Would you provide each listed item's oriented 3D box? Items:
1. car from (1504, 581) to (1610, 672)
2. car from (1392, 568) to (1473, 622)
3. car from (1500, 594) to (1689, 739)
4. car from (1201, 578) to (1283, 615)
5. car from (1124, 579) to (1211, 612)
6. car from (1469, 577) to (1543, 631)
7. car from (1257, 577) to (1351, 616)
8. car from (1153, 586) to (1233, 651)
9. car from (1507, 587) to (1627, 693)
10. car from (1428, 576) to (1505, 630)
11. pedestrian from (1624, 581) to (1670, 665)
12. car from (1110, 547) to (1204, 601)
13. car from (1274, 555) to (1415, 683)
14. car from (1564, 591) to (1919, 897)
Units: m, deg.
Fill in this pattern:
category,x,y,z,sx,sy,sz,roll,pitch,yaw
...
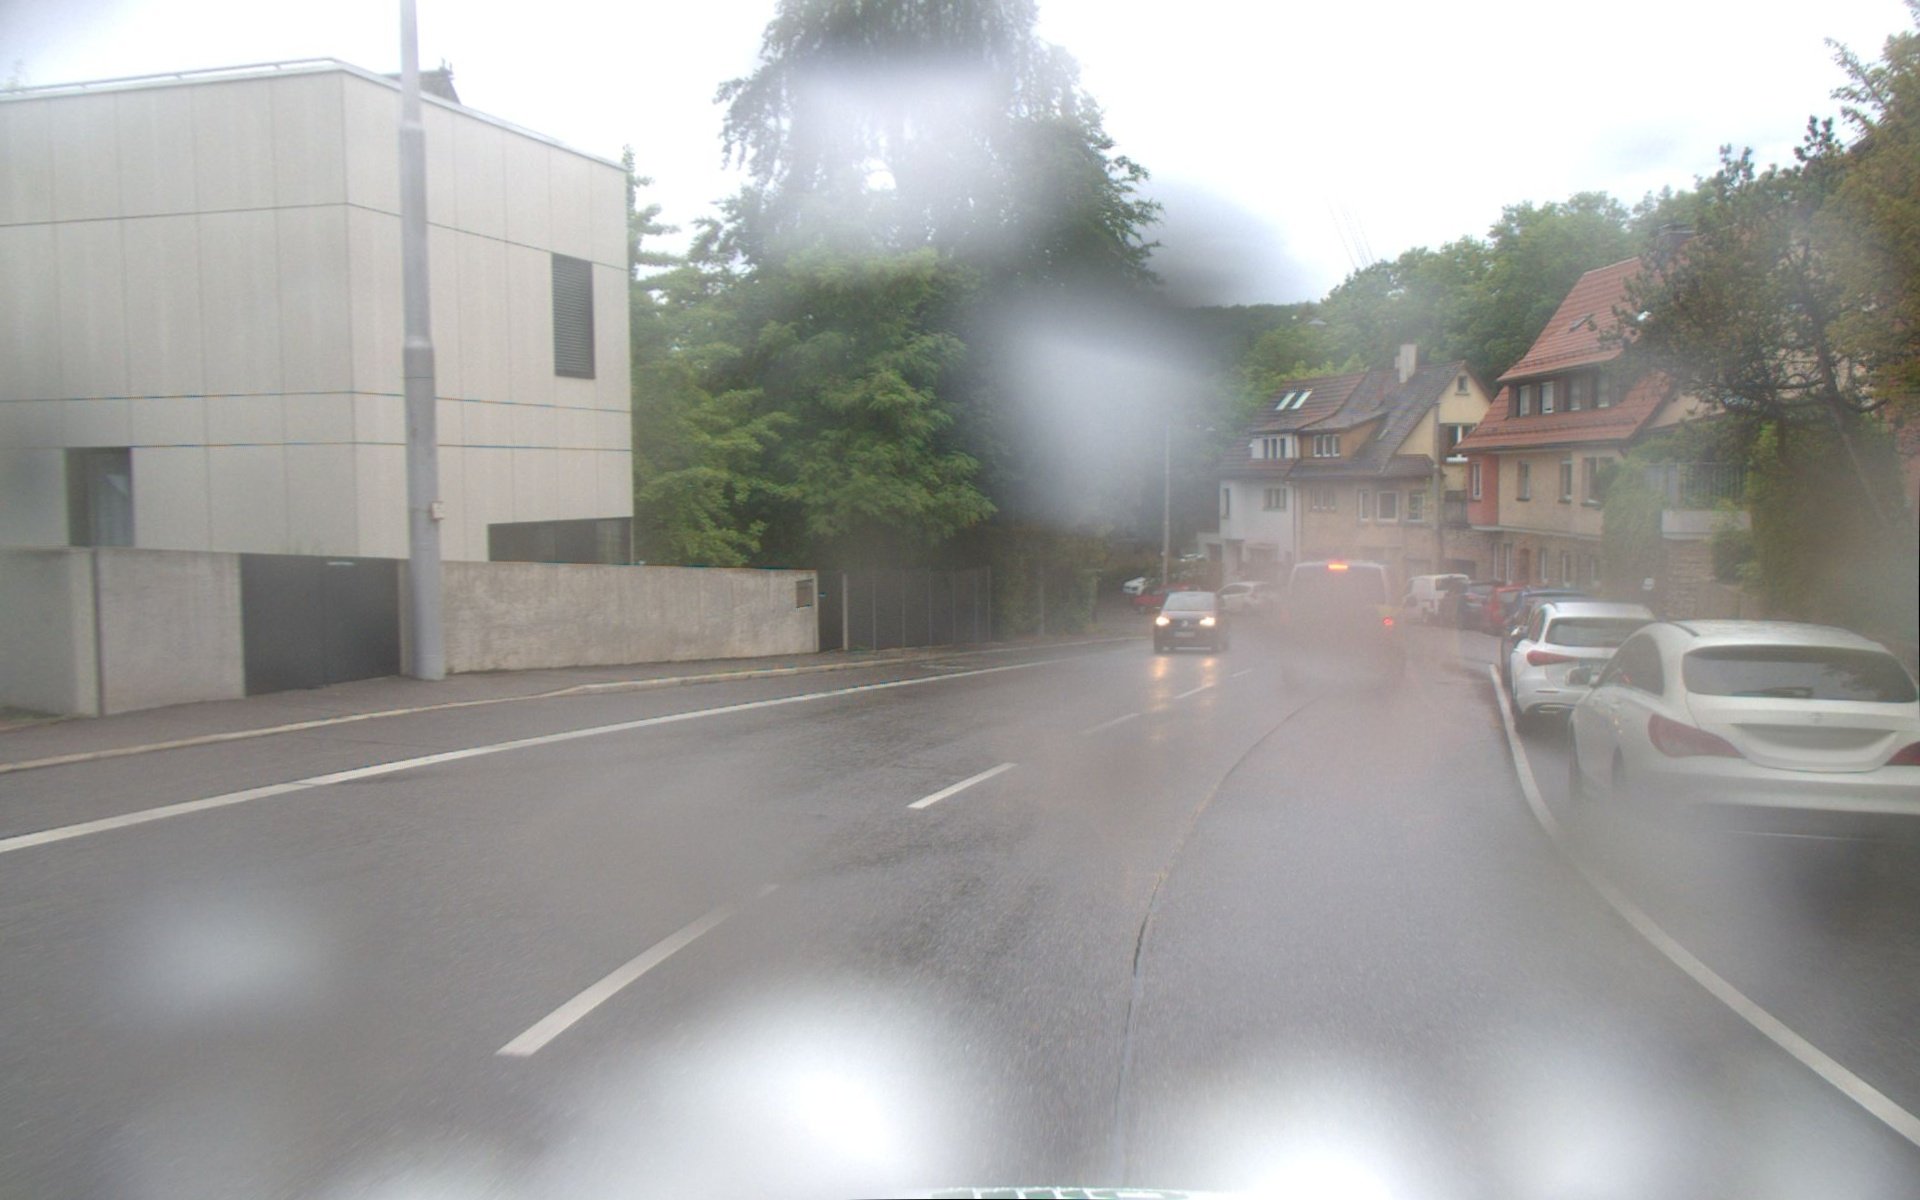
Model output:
category,x,y,z,sx,sy,sz,roll,pitch,yaw
car,11.604,0.467,32.362,1.697,1.621,4.257,0,1,16
car,17.925,-0.228,62.933,1.671,1.822,4.325,-4,1,-1
car,7.490,0.703,19.861,1.769,1.481,4.257,0,1,16
car,13.182,-0.134,77.470,1.746,1.541,3.786,-5,1,-29
car,10.224,-0.208,81.673,1.771,1.390,4.132,-5,2,-41
car,17.378,0.104,52.753,1.581,1.460,3.585,-4,1,9
car,15.184,-0.136,73.255,1.888,1.565,4.384,-5,1,-23
car,5.859,0.432,41.300,1.614,1.444,3.806,2,1,13
car,9.633,0.561,26.164,1.654,1.481,4.254,0,1,21
car,17.652,0.073,57.816,1.581,1.632,4.415,-4,1,5
pedestrian,14.061,0.464,33.846,0.608,1.679,0.613,1,0,-10
car,10.478,-1.412,88.122,4.330,1.870,1.994,-13,6,-13
car,6.528,0.319,27.745,1.951,1.926,4.572,-2,-1,17
car,5.045,0.741,10.636,1.741,1.460,4.572,-3,0,15
